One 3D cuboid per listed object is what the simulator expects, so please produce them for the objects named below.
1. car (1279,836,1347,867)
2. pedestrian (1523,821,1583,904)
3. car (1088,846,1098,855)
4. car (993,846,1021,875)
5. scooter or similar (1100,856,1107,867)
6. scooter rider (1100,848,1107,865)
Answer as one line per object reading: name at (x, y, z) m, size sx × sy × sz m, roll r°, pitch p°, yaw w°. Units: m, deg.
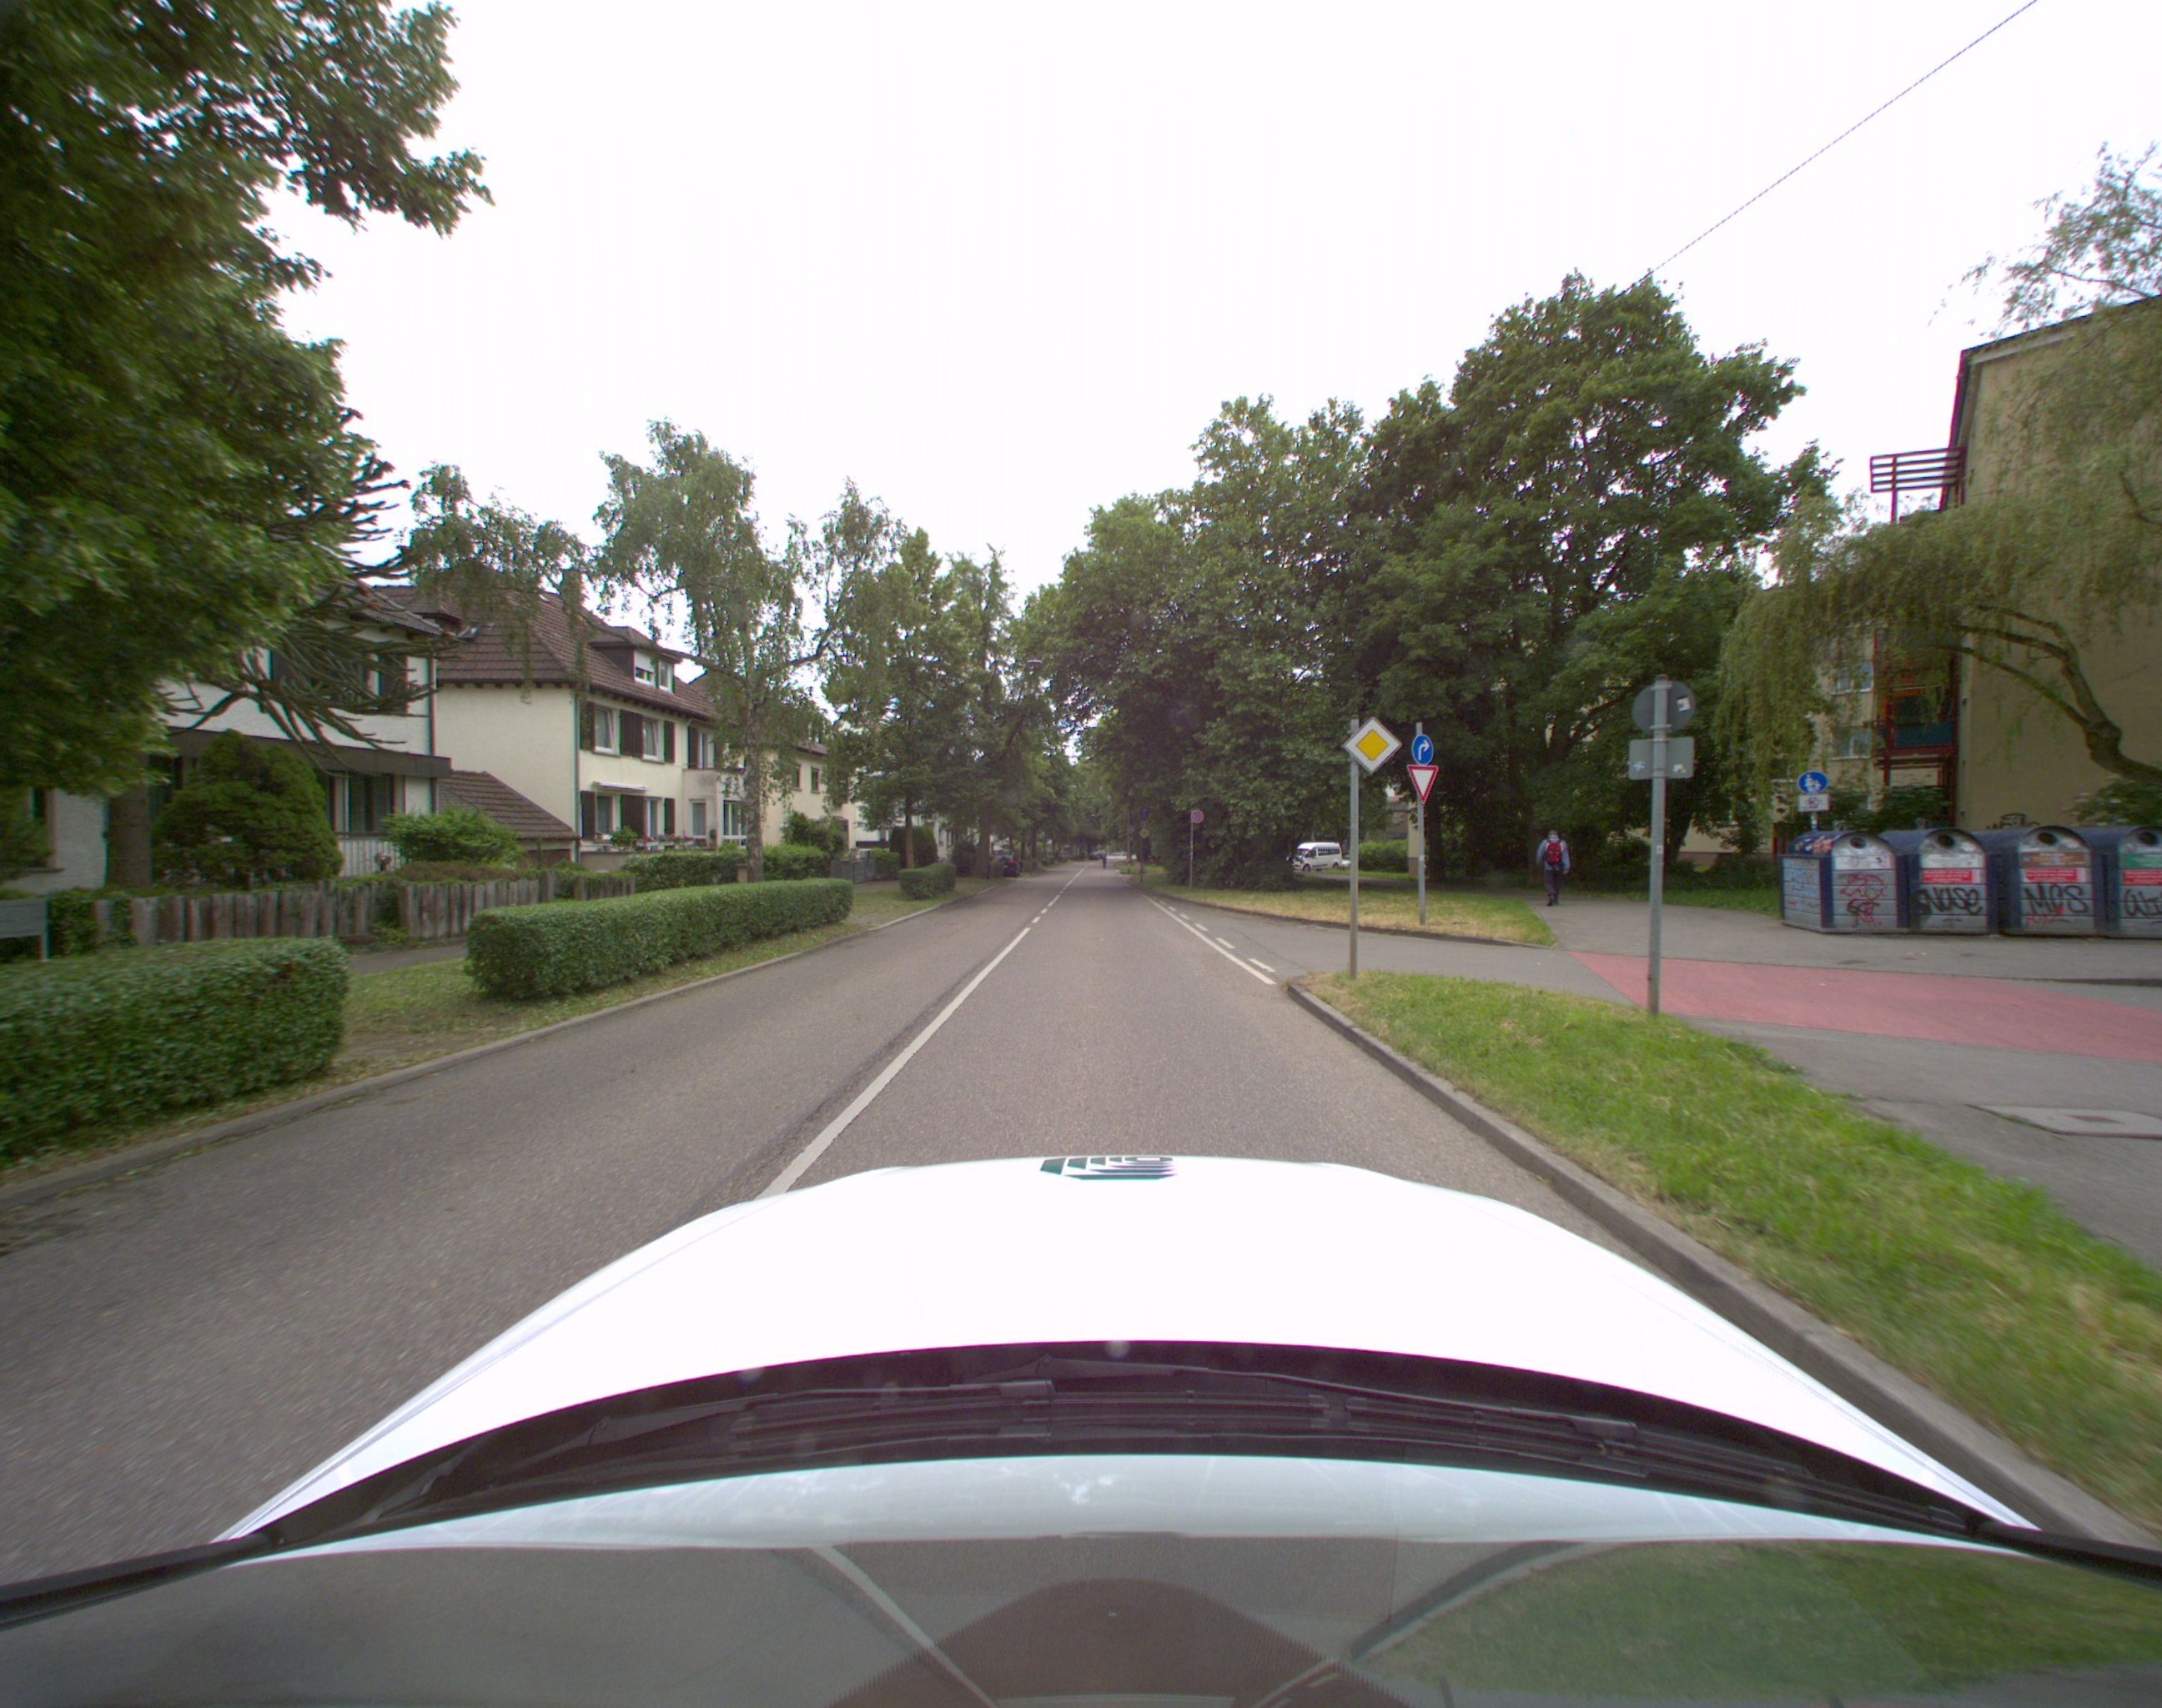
car at (18.500, -0.169, 64.820) m, size 5.406 × 2.296 × 2.116 m, roll 1°, pitch 3°, yaw -34°
pedestrian at (11.319, 0.184, 19.564) m, size 0.917 × 1.871 × 1.023 m, roll -4°, pitch 3°, yaw 14°
car at (2.418, -0.680, 162.042) m, size 1.828 × 1.498 × 3.657 m, roll 2°, pitch 2°, yaw 1°
car at (-4.879, 0.388, 54.282) m, size 1.639 × 1.724 × 3.797 m, roll 2°, pitch 2°, yaw -3°
scooter or similar at (2.165, 0.699, 79.199) m, size 0.598 × 1.054 × 0.874 m, roll -1°, pitch 2°, yaw 4°
scooter rider at (2.162, 0.252, 79.336) m, size 0.598 × 1.552 × 0.567 m, roll -1°, pitch 2°, yaw 3°
